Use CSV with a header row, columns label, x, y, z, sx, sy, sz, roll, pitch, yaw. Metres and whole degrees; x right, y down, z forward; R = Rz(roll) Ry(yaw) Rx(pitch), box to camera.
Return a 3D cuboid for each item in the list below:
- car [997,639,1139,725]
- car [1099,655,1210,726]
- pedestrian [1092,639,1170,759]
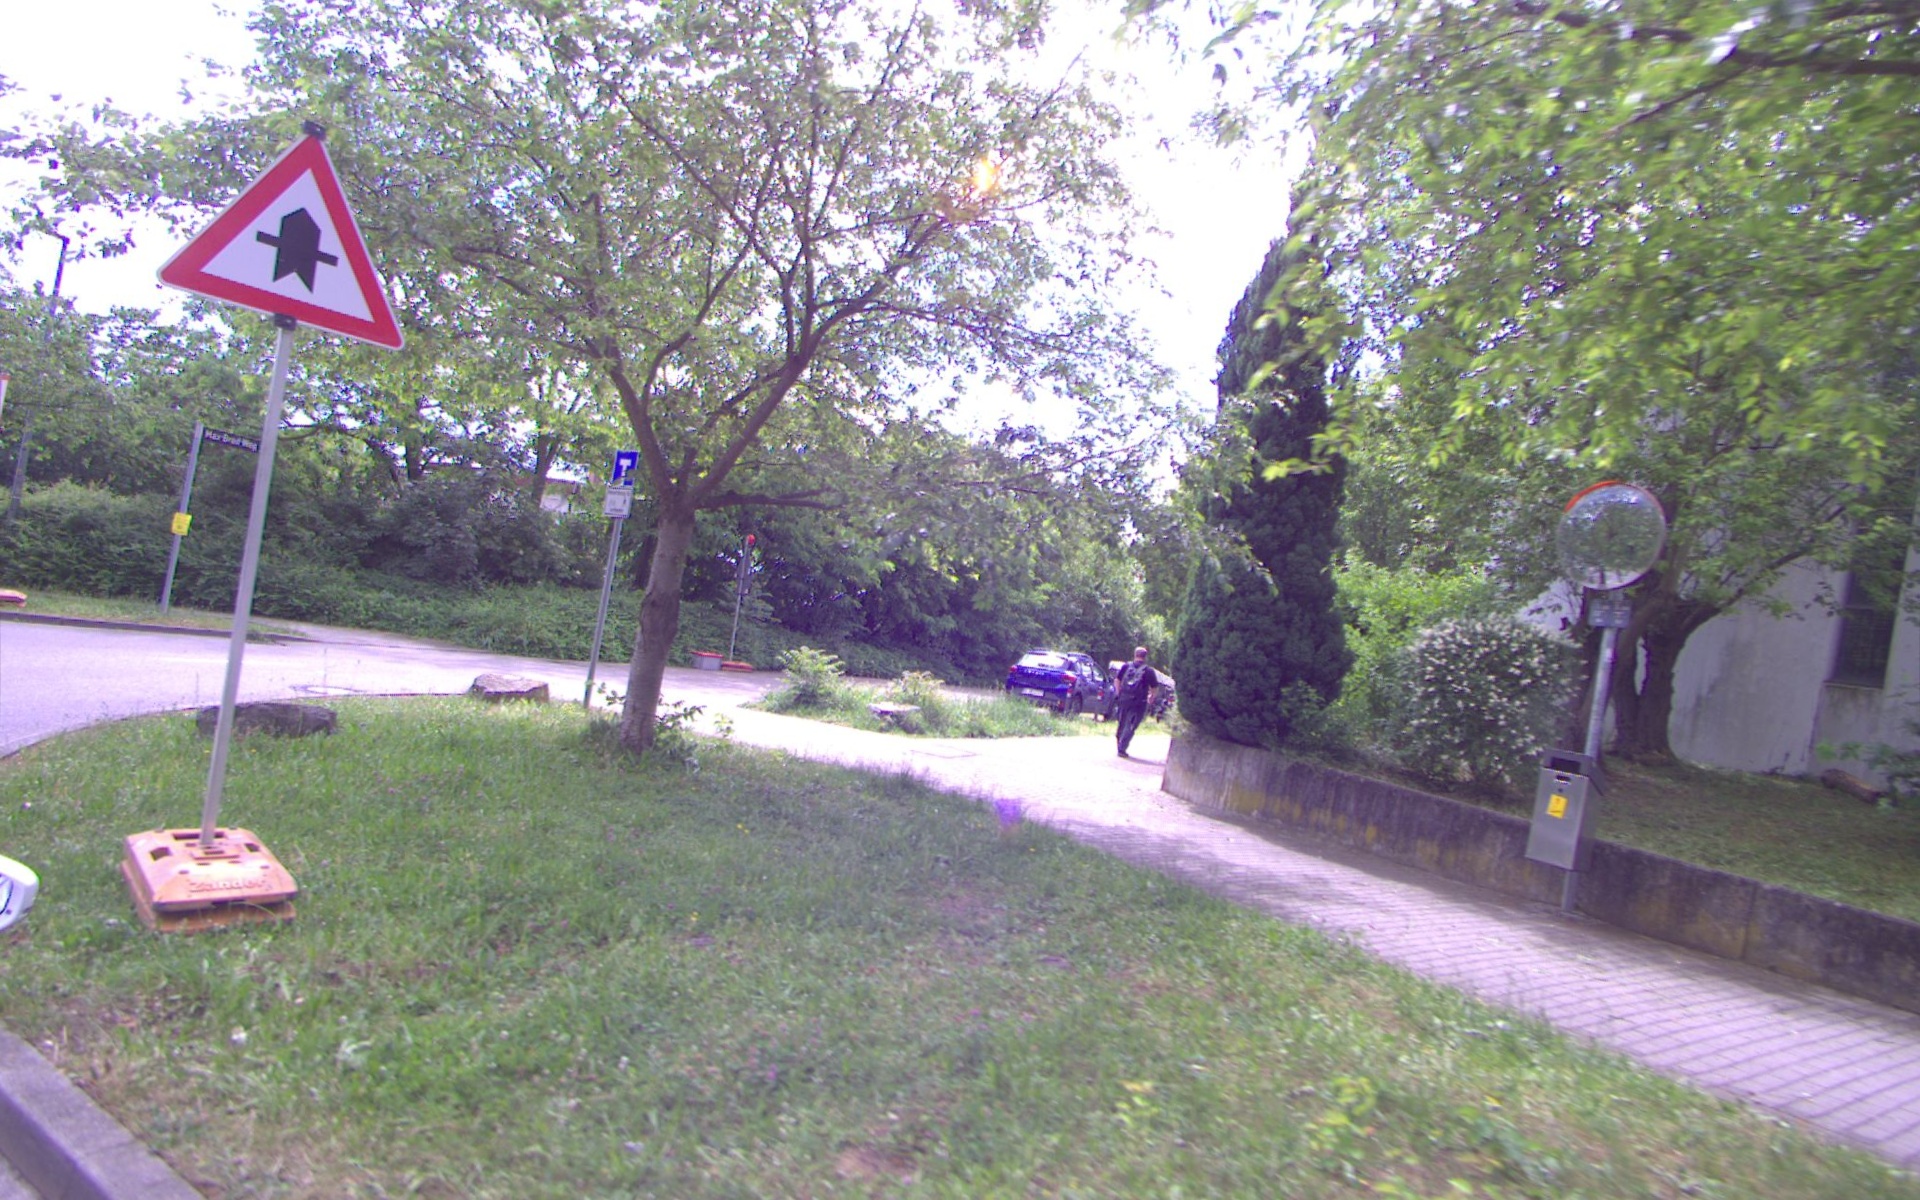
label,x,y,z,sx,sy,sz,roll,pitch,yaw
car,2.681,2.020,24.129,1.700,1.680,3.996,6,-3,31
car,5.681,2.655,28.993,1.700,1.680,3.996,6,-3,31
pedestrian,2.734,1.571,16.009,0.773,1.756,0.834,6,-2,32
